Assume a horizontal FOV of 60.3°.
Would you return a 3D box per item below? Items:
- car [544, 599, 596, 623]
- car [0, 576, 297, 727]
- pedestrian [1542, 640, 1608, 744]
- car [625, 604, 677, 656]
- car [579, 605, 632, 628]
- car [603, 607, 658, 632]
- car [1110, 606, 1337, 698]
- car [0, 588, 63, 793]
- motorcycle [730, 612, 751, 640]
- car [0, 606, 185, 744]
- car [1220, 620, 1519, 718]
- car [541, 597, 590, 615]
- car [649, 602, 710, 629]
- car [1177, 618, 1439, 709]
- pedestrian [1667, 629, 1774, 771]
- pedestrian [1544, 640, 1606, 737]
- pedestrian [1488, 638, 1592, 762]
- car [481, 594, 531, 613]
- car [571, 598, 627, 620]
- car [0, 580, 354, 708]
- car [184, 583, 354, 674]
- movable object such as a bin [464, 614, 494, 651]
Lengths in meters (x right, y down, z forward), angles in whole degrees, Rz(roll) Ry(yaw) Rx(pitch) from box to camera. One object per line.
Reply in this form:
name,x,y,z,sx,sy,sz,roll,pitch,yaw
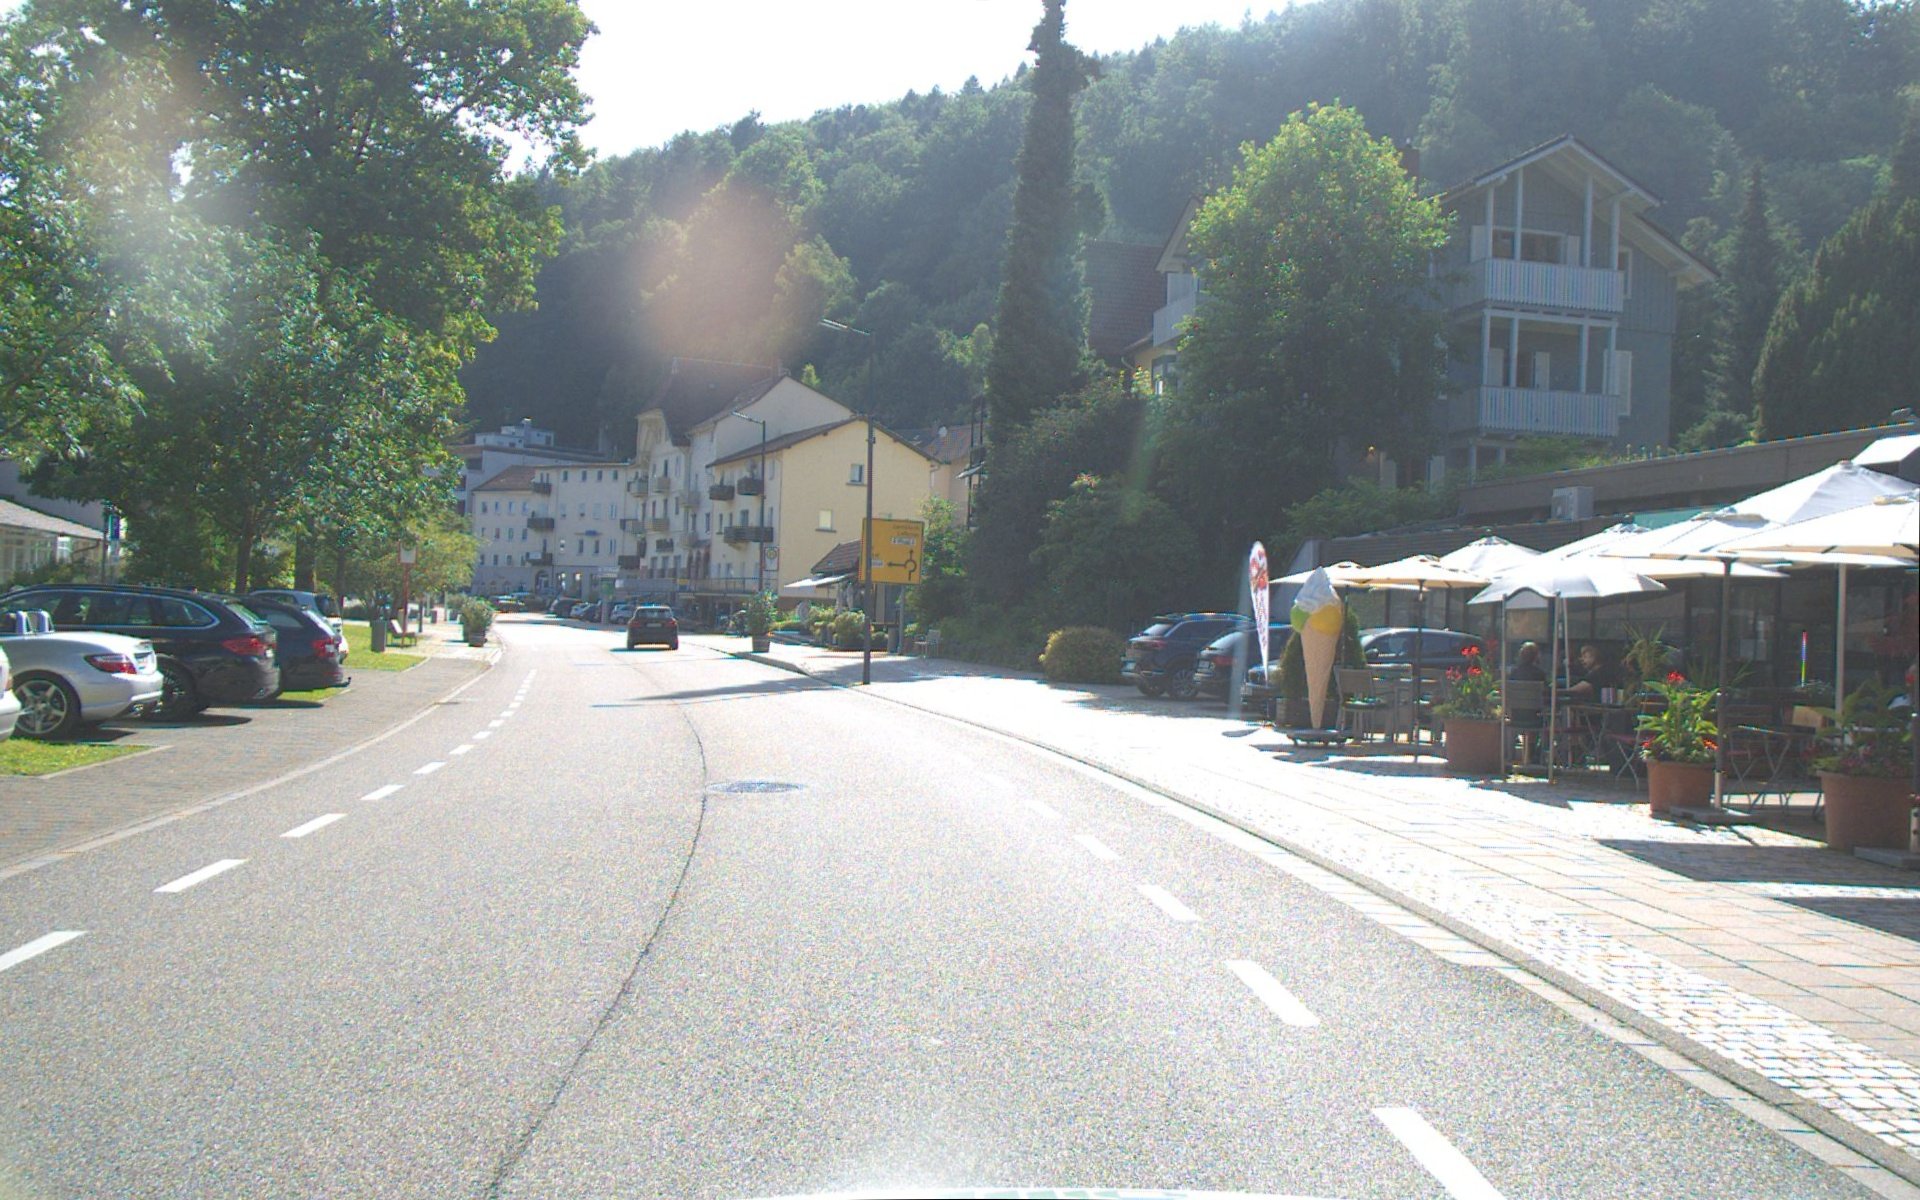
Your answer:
car,-33.768,0.983,143.229,4.029,1.695,1.760,6,-2,-23
car,-10.188,0.549,19.085,4.418,1.536,1.706,4,-1,-14
pedestrian,7.891,1.163,21.238,0.683,1.283,0.813,1,-1,13
car,-11.128,1.050,59.442,1.697,1.601,3.742,4,1,-12
car,-28.598,1.341,133.277,3.857,1.486,1.724,5,-2,-23
car,-25.623,1.537,128.611,3.857,1.616,1.762,5,-1,-24
car,4.905,0.967,30.969,3.807,1.608,1.743,1,-1,-12
car,-8.873,0.483,11.260,4.403,1.442,1.805,4,-2,-11
motorcycle,-10.976,1.292,82.563,0.686,1.319,2.202,-1,0,-17
car,-9.926,0.678,16.366,3.730,1.265,1.756,3,-1,-14
car,6.325,1.059,25.658,4.187,1.403,1.704,1,-1,-12
car,-35.998,0.531,150.961,3.991,1.542,1.744,-1,3,-44
car,-19.624,1.073,115.875,3.812,1.581,1.746,5,-2,-26
car,5.915,1.075,28.293,4.037,1.440,1.743,1,-1,-12
pedestrian,7.832,1.007,17.031,0.695,1.405,0.800,1,-1,-43
pedestrian,8.414,1.197,22.650,0.683,1.283,0.813,1,-1,13
pedestrian,6.220,1.060,17.759,0.798,1.283,0.696,1,-1,-22
car,-41.271,0.316,150.290,3.952,1.691,1.976,0,0,-34
car,-30.360,0.757,139.124,4.294,1.486,1.761,4,-3,-21
car,-10.650,0.612,22.760,4.211,1.457,1.703,4,-2,-19
car,-13.458,0.561,32.337,2.601,1.574,1.679,4,-1,-8
movable object such as a bin,-19.599,1.318,67.370,1.061,1.452,1.370,4,-1,-16
